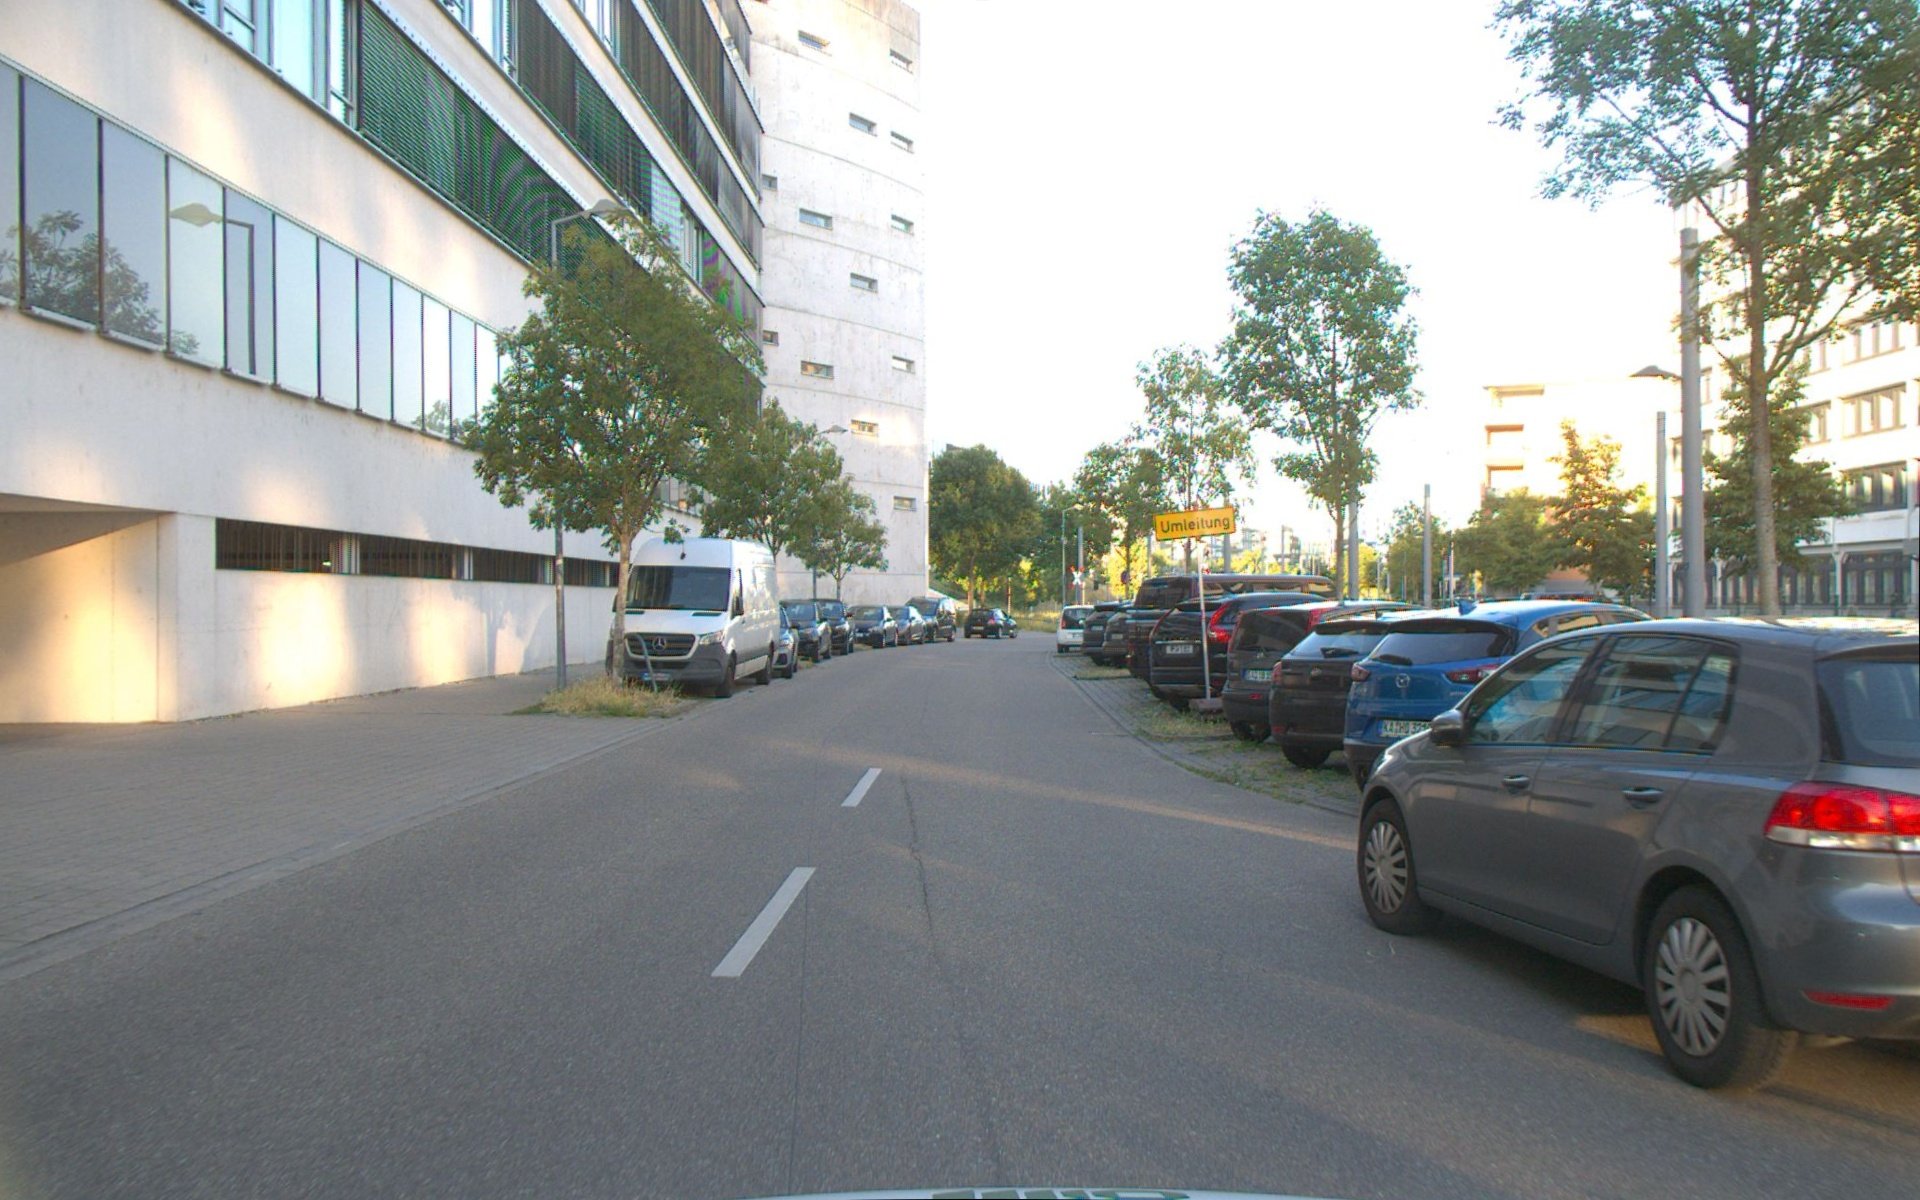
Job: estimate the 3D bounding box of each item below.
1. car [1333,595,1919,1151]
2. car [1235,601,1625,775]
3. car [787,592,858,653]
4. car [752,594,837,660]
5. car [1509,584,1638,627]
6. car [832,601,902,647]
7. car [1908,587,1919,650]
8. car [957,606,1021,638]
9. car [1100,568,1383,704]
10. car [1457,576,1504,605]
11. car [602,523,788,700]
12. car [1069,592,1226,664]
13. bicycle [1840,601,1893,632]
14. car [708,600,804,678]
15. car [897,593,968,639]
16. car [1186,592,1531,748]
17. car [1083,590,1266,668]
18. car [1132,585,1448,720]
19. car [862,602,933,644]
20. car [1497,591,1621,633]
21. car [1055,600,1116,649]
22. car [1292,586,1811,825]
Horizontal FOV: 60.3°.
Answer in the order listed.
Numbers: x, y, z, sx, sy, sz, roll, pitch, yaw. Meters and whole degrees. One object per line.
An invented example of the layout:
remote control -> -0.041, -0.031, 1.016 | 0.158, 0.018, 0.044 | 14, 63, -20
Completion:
car -> 3.022, 0.768, 6.553 | 1.699, 1.491, 3.992 | 2, -1, -8
car -> 4.705, 0.776, 16.349 | 3.958, 1.490, 1.713 | 0, 0, -38
car -> -4.069, 0.641, 49.374 | 1.720, 1.682, 3.949 | 2, 0, 0
car -> -4.315, 0.677, 43.631 | 1.719, 1.588, 4.044 | 2, 0, 1
car -> 23.834, 0.221, 64.362 | 4.403, 1.630, 1.694 | 0, 0, 0
car -> -3.247, 0.819, 58.431 | 1.686, 1.483, 4.275 | 2, 1, 7
car -> 23.717, 0.481, 37.164 | 3.906, 1.422, 1.592 | 2, 0, -1
car -> 1.403, 1.008, 78.991 | 1.903, 1.407, 4.402 | 2, 1, 17
car -> 4.673, 0.554, 27.202 | 4.546, 2.071, 1.850 | 1, 0, -33
car -> 48.980, -0.880, 155.716 | 4.069, 2.629, 1.703 | -1, 0, 23
car -> -4.424, 0.145, 28.769 | 1.918, 2.662, 6.894 | 1, 0, 1
car -> 4.827, 0.713, 42.488 | 3.730, 1.756, 1.744 | 1, 0, -32
bicycle -> 37.127, 0.661, 67.776 | 0.811, 1.221, 2.432 | 2, 0, 1
car -> -4.224, 0.778, 34.698 | 1.721, 1.465, 3.898 | 2, 1, -4
car -> -1.096, 0.648, 69.112 | 1.720, 1.830, 4.466 | 2, 0, 16
car -> 4.654, 0.778, 19.106 | 3.954, 1.623, 1.715 | 2, -1, -36
car -> 5.149, 0.690, 39.724 | 3.927, 1.668, 1.956 | -2, 0, -27
car -> 4.853, 0.716, 24.097 | 4.546, 1.779, 1.850 | 1, 0, -33
car -> -2.371, 0.869, 63.861 | 1.685, 1.483, 4.698 | 2, 1, 11
car -> 24.172, 0.472, 66.807 | 4.403, 1.630, 1.694 | 0, 0, 0
car -> 4.119, 0.758, 53.884 | 1.685, 1.493, 3.556 | -1, 0, 9
car -> 4.712, 0.725, 13.031 | 3.953, 1.547, 1.904 | -1, -1, -35
